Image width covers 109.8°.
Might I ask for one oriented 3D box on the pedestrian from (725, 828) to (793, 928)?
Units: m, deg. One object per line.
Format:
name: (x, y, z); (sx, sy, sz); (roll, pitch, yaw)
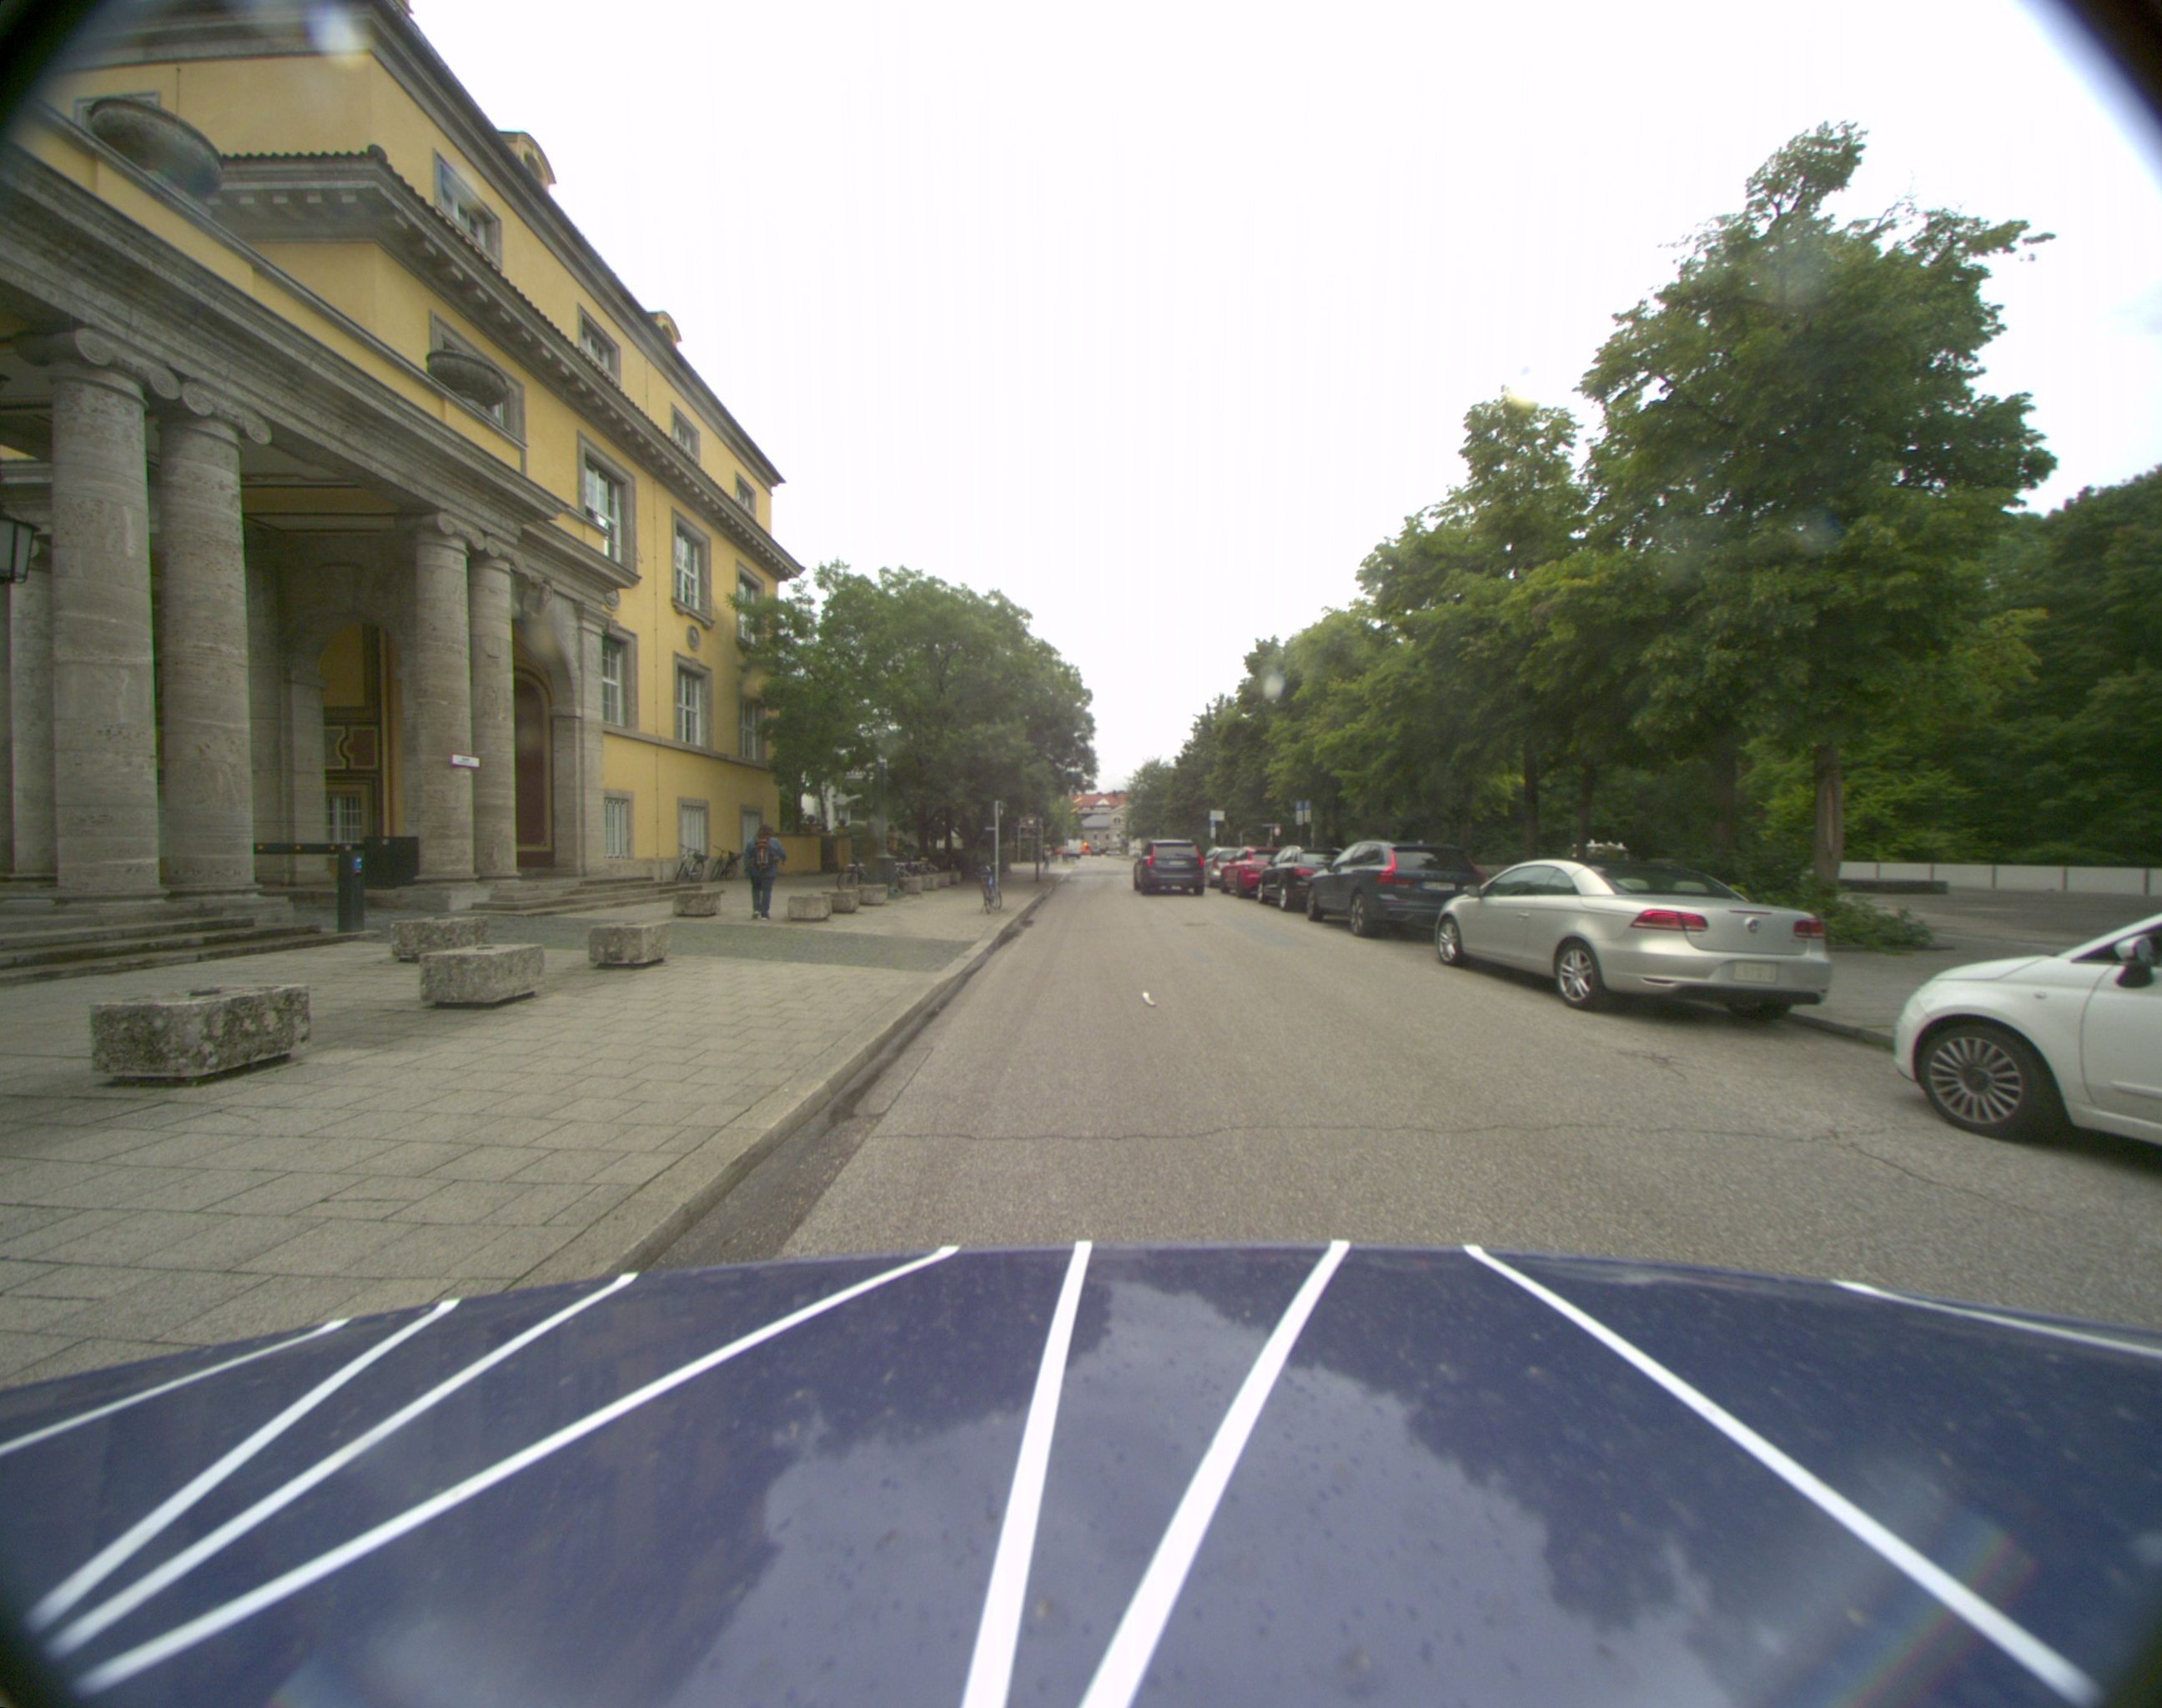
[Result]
pedestrian: (-5.848, 0.413, 13.866); (0.790, 1.736, 1.055); (1, 1, 0)

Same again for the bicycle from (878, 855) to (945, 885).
bicycle: (-6.196, 0.587, 27.795); (2.261, 1.005, 0.602); (2, 1, 3)

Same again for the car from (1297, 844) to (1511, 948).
car: (5.554, 0.615, 13.836); (1.998, 1.574, 4.521); (1, 1, 1)

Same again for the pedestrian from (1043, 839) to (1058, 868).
pedestrian: (-1.875, -0.015, 46.336); (0.798, 1.722, 0.660); (-3, 2, 0)

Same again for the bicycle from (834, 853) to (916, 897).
bicycle: (-6.191, 0.631, 22.906); (2.265, 1.088, 0.601); (5, 1, -10)

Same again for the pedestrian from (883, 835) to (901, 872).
pedestrian: (-9.763, -0.029, 39.224); (0.659, 1.855, 0.820); (3, 2, 1)

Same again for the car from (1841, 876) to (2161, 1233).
car: (5.376, 0.906, 2.806); (1.547, 1.462, 3.552); (2, 1, 1)

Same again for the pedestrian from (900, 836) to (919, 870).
pedestrian: (-9.574, -0.048, 42.470); (0.782, 1.855, 1.035); (3, 2, 1)

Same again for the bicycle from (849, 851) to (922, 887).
bicycle: (-6.563, 0.505, 25.644); (2.265, 1.018, 0.601); (5, 1, -10)

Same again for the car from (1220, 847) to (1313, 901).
car: (5.753, 0.560, 24.134); (1.998, 1.535, 4.364); (1, 1, 2)

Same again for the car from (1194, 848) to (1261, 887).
car: (5.833, 0.491, 30.711); (1.998, 1.452, 4.364); (1, 1, 2)

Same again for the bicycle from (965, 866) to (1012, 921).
bicycle: (-2.124, 0.881, 17.745); (0.762, 1.094, 2.263); (2, 1, 0)

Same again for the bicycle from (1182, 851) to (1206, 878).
bicycle: (5.605, 0.522, 37.633); (0.574, 1.275, 1.421); (-1, 1, 33)

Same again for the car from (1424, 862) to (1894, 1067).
car: (5.408, 0.874, 7.984); (1.762, 1.392, 4.217); (3, 1, 2)

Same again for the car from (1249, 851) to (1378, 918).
car: (5.722, 0.667, 19.378); (1.998, 1.452, 4.647); (1, 1, 2)

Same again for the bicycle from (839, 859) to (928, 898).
bicycle: (-5.624, 0.698, 21.754); (2.370, 1.000, 0.677); (2, 1, -8)

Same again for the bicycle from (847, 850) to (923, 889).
bicycle: (-6.356, 0.512, 24.729); (2.265, 1.053, 0.601); (5, 1, -10)

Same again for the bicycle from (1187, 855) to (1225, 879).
bicycle: (5.937, 0.619, 36.103); (1.700, 1.101, 0.598); (-1, 2, -7)

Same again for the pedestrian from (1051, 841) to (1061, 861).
pedestrian: (-2.433, -0.294, 73.031); (0.777, 1.855, 0.996); (-3, 2, -7)

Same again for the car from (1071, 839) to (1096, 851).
car: (0.581, -2.020, 169.072); (4.973, 2.521, 2.577); (-1, 2, 44)

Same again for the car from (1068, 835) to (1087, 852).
car: (-0.564, -1.458, 106.223); (2.236, 2.289, 4.728); (-3, 2, -4)

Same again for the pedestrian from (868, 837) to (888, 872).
pedestrian: (-10.482, 0.013, 39.226); (0.741, 1.734, 0.841); (3, 2, 1)

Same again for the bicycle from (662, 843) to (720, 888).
bicycle: (-12.035, 0.319, 23.520); (0.601, 1.299, 2.264); (1, 1, 1)

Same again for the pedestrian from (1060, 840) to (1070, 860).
pedestrian: (-1.525, -0.353, 73.159); (0.777, 1.855, 0.997); (-3, 2, -5)

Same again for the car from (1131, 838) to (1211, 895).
car: (2.855, 0.339, 25.267); (1.965, 1.672, 4.910); (2, 1, -1)

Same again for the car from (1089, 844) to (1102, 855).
car: (2.585, -0.768, 139.247); (2.222, 1.840, 4.729); (-3, 2, 1)

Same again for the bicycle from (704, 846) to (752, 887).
bicycle: (-11.994, 0.396, 25.880); (0.601, 1.299, 2.164); (1, 1, 1)
